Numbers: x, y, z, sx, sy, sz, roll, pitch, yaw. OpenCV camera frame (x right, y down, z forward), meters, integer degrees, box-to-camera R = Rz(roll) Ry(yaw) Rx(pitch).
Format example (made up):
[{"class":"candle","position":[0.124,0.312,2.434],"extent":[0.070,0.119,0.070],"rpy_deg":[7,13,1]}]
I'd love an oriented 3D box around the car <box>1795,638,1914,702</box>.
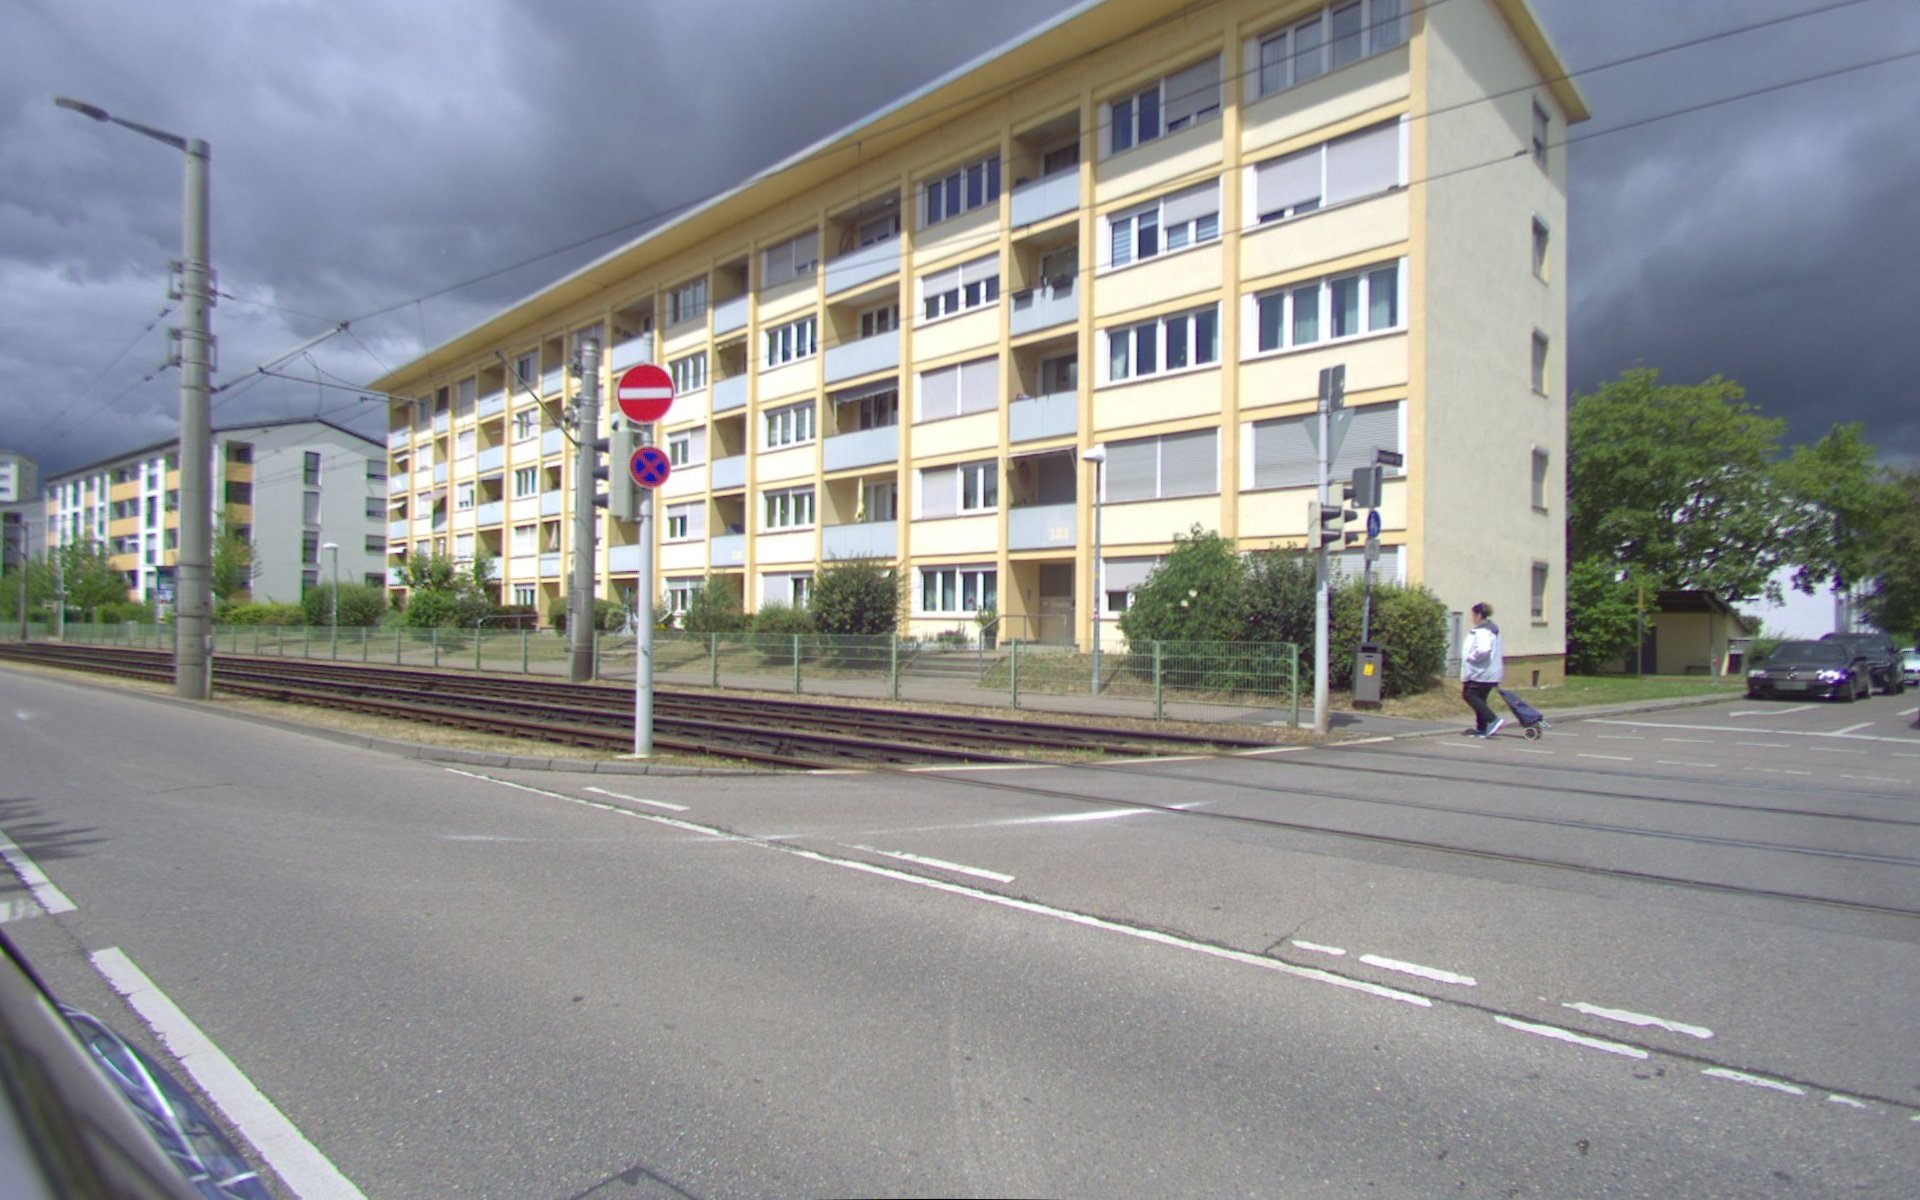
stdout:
[{"class":"car","position":[22.873,1.721,25.841],"extent":[3.939,1.438,1.923],"rpy_deg":[2,-1,-43]}]

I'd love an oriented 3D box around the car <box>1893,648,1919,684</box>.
[{"class":"car","position":[38.277,2.605,39.881],"extent":[3.939,1.304,1.923],"rpy_deg":[2,-1,-43]}]

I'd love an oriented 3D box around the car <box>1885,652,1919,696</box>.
[{"class":"car","position":[32.118,2.428,33.503],"extent":[3.939,1.304,1.923],"rpy_deg":[2,-1,-43]}]

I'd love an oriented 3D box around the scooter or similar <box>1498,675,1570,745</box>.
[{"class":"scooter or similar","position":[6.910,1.309,12.194],"extent":[0.665,0.779,0.527],"rpy_deg":[-1,-3,41]}]

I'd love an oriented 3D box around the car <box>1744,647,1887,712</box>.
[{"class":"car","position":[18.564,1.653,21.904],"extent":[3.939,1.179,1.923],"rpy_deg":[2,-1,-43]}]

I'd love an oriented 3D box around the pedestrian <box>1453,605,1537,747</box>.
[{"class":"pedestrian","position":[6.362,0.877,12.035],"extent":[0.773,1.620,0.597],"rpy_deg":[-1,-3,41]}]
